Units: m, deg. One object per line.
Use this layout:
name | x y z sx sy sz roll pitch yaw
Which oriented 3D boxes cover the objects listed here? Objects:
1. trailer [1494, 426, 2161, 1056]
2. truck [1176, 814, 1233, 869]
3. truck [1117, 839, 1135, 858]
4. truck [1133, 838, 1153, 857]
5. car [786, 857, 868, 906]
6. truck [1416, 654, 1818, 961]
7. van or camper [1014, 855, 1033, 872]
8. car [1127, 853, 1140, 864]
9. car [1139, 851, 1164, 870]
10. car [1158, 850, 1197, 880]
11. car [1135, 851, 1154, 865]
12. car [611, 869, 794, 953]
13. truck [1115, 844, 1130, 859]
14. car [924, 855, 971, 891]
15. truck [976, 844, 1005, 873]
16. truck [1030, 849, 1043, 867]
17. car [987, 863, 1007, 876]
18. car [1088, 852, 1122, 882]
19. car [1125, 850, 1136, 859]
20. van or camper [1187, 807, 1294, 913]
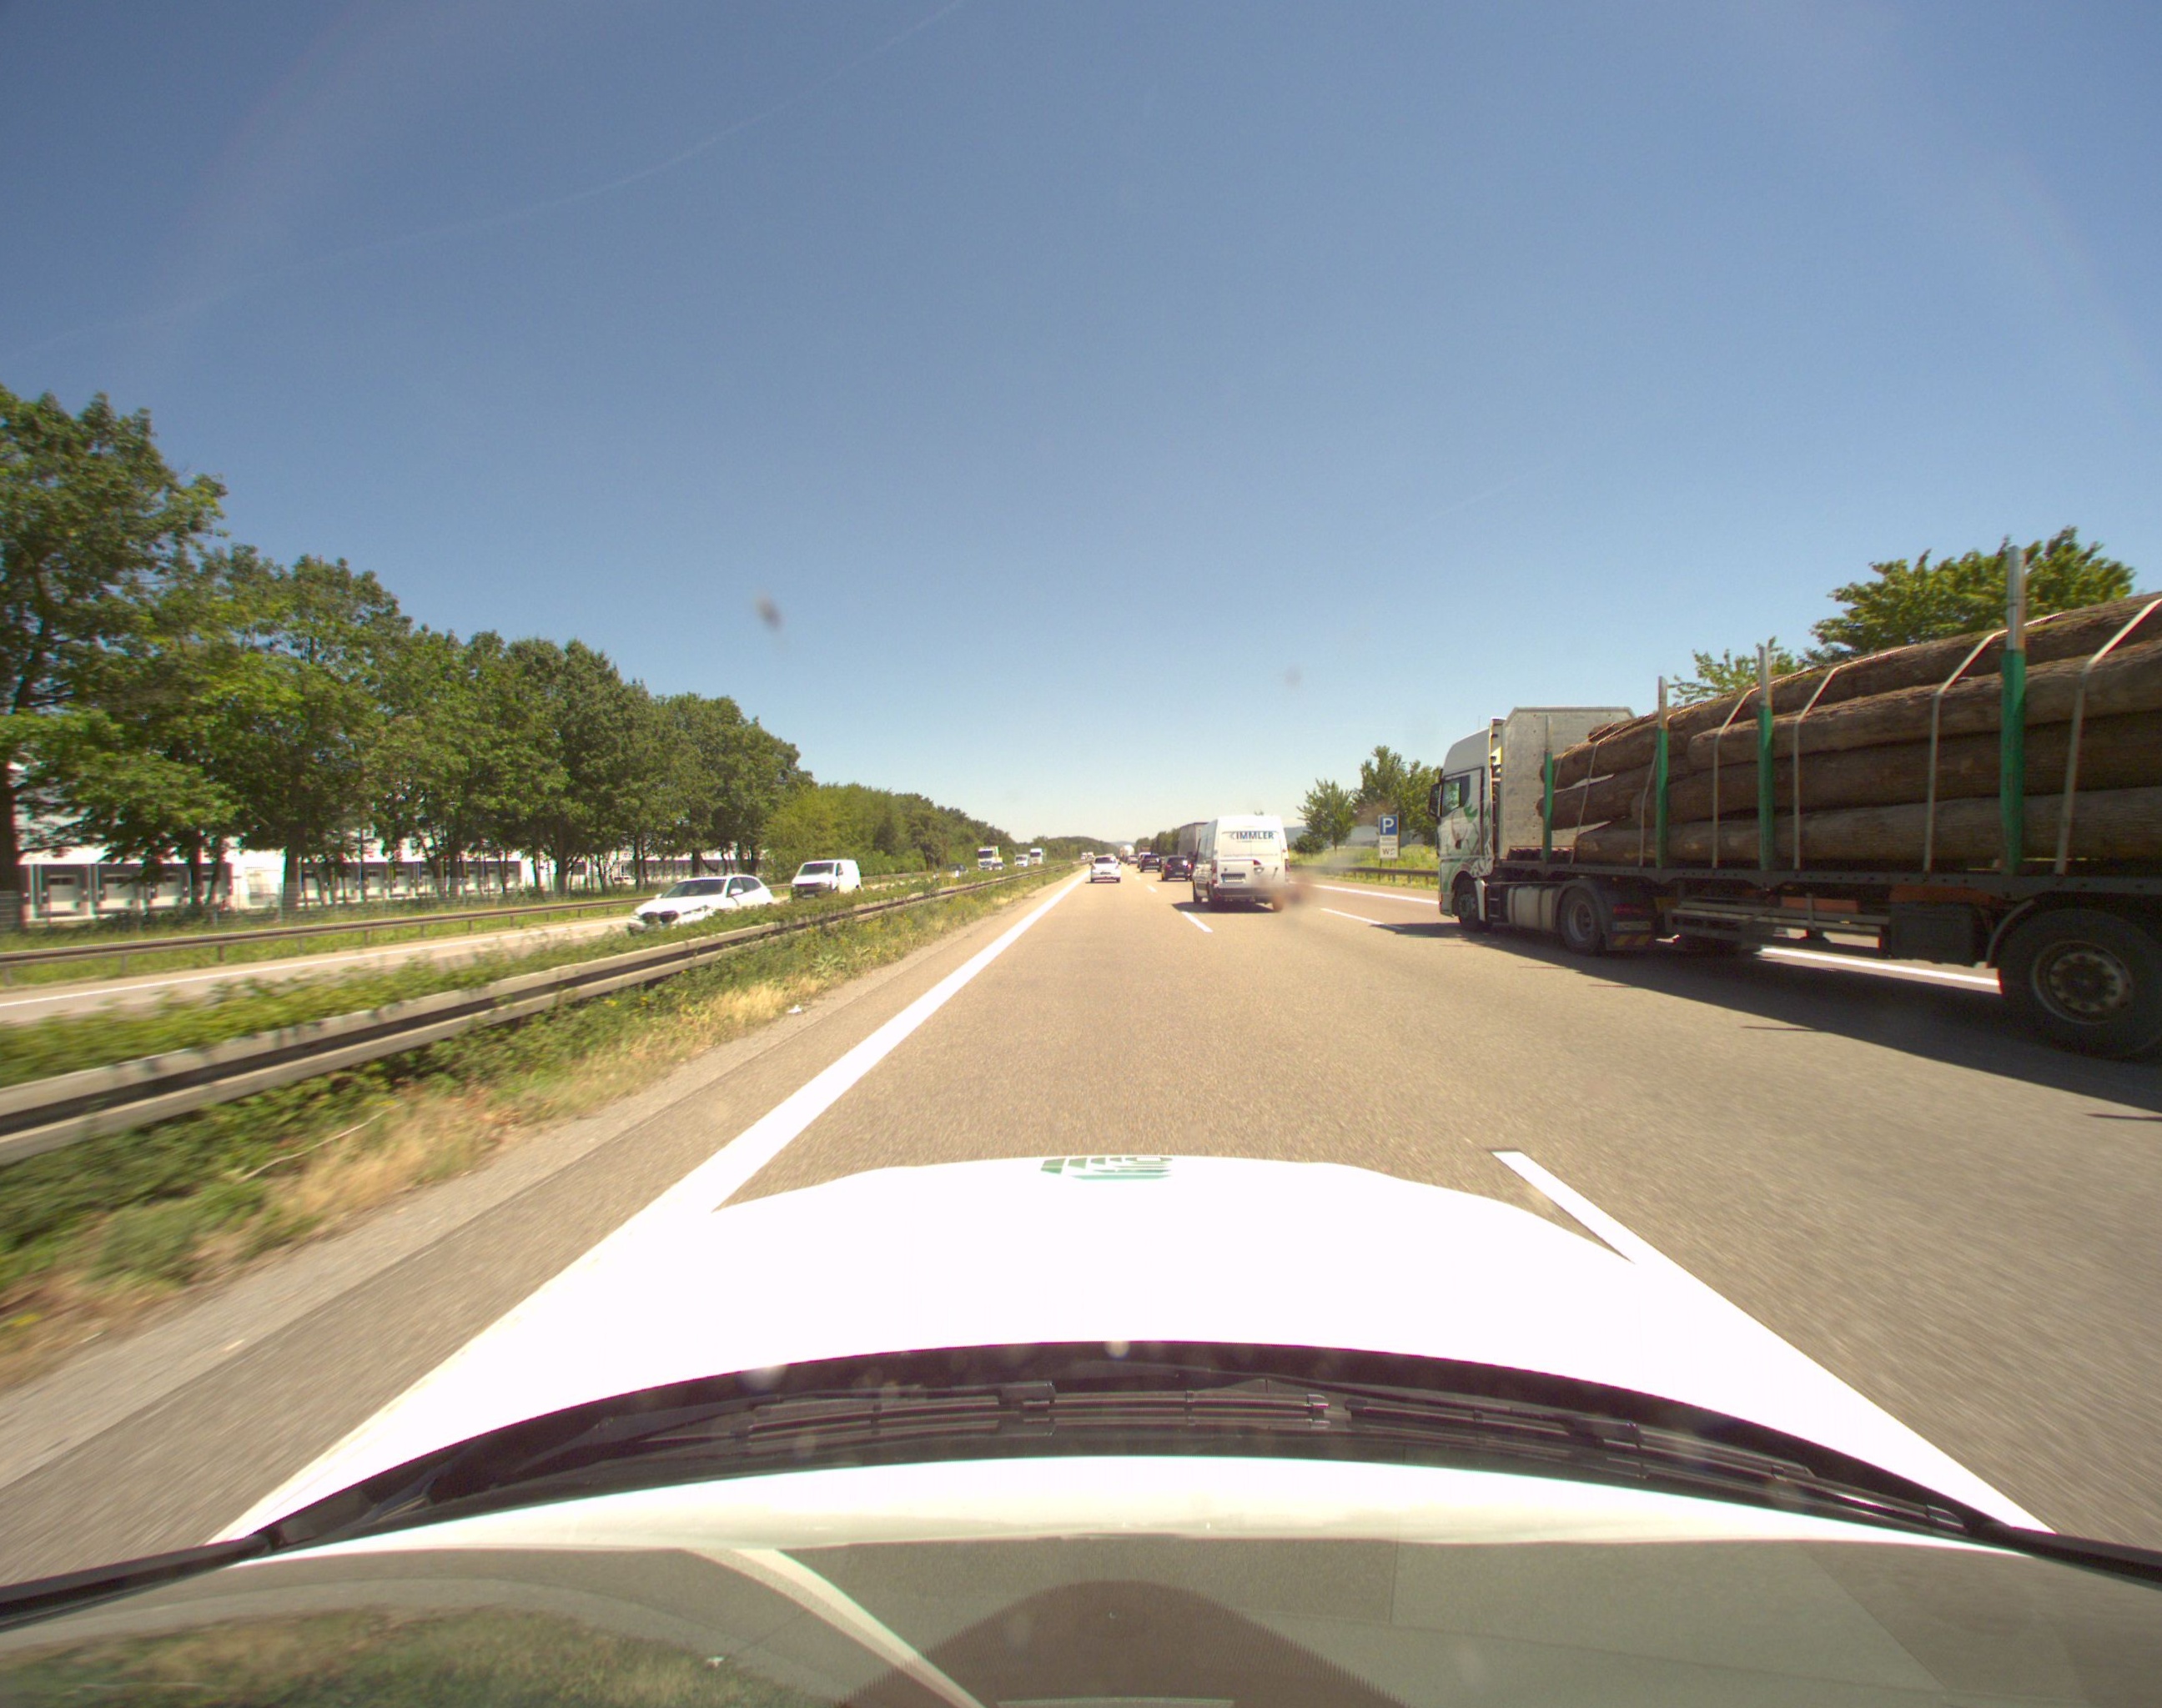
trailer | 8.187 -0.726 7.080 2.643 3.958 13.642 -1 0 2
truck | 10.452 -0.926 70.736 3.067 4.209 16.853 0 0 2
truck | 10.474 -1.252 191.824 3.248 4.209 16.837 0 0 -1
truck | 14.769 -1.517 194.769 3.248 4.209 16.837 0 0 -1
car | -11.532 1.185 37.338 1.988 1.912 5.211 -3 0 0
truck | 8.400 -0.613 14.012 2.660 3.994 6.639 -1 0 2
van or camper | -8.401 1.354 118.966 2.050 2.353 6.078 -3 0 2
car | 8.243 0.736 127.712 1.851 1.652 4.000 -1 0 0
car | 6.277 0.556 72.945 1.851 1.652 4.000 -1 0 0
car | 5.629 0.640 47.822 1.851 1.652 4.000 -1 0 0
car | 7.553 0.478 97.076 1.851 1.652 4.000 -1 0 0
car | -8.745 1.233 19.401 1.914 1.529 4.868 -3 0 1
truck | 11.535 -0.732 228.826 3.248 4.209 16.837 0 0 -1
car | -7.757 1.084 47.688 1.989 1.912 4.000 -3 0 0
truck | -12.993 0.590 117.344 2.596 3.761 9.869 -3 0 2
truck | -10.076 0.962 186.635 2.408 4.093 5.883 -1 0 2
car | -10.113 1.869 98.762 1.851 1.439 4.598 -3 0 0
car | 1.328 0.727 46.811 1.851 1.652 4.000 0 0 0
car | 9.375 0.070 153.736 1.851 1.652 4.000 -1 0 0
van or camper | 4.424 0.152 23.611 2.050 2.622 5.987 -1 0 2
